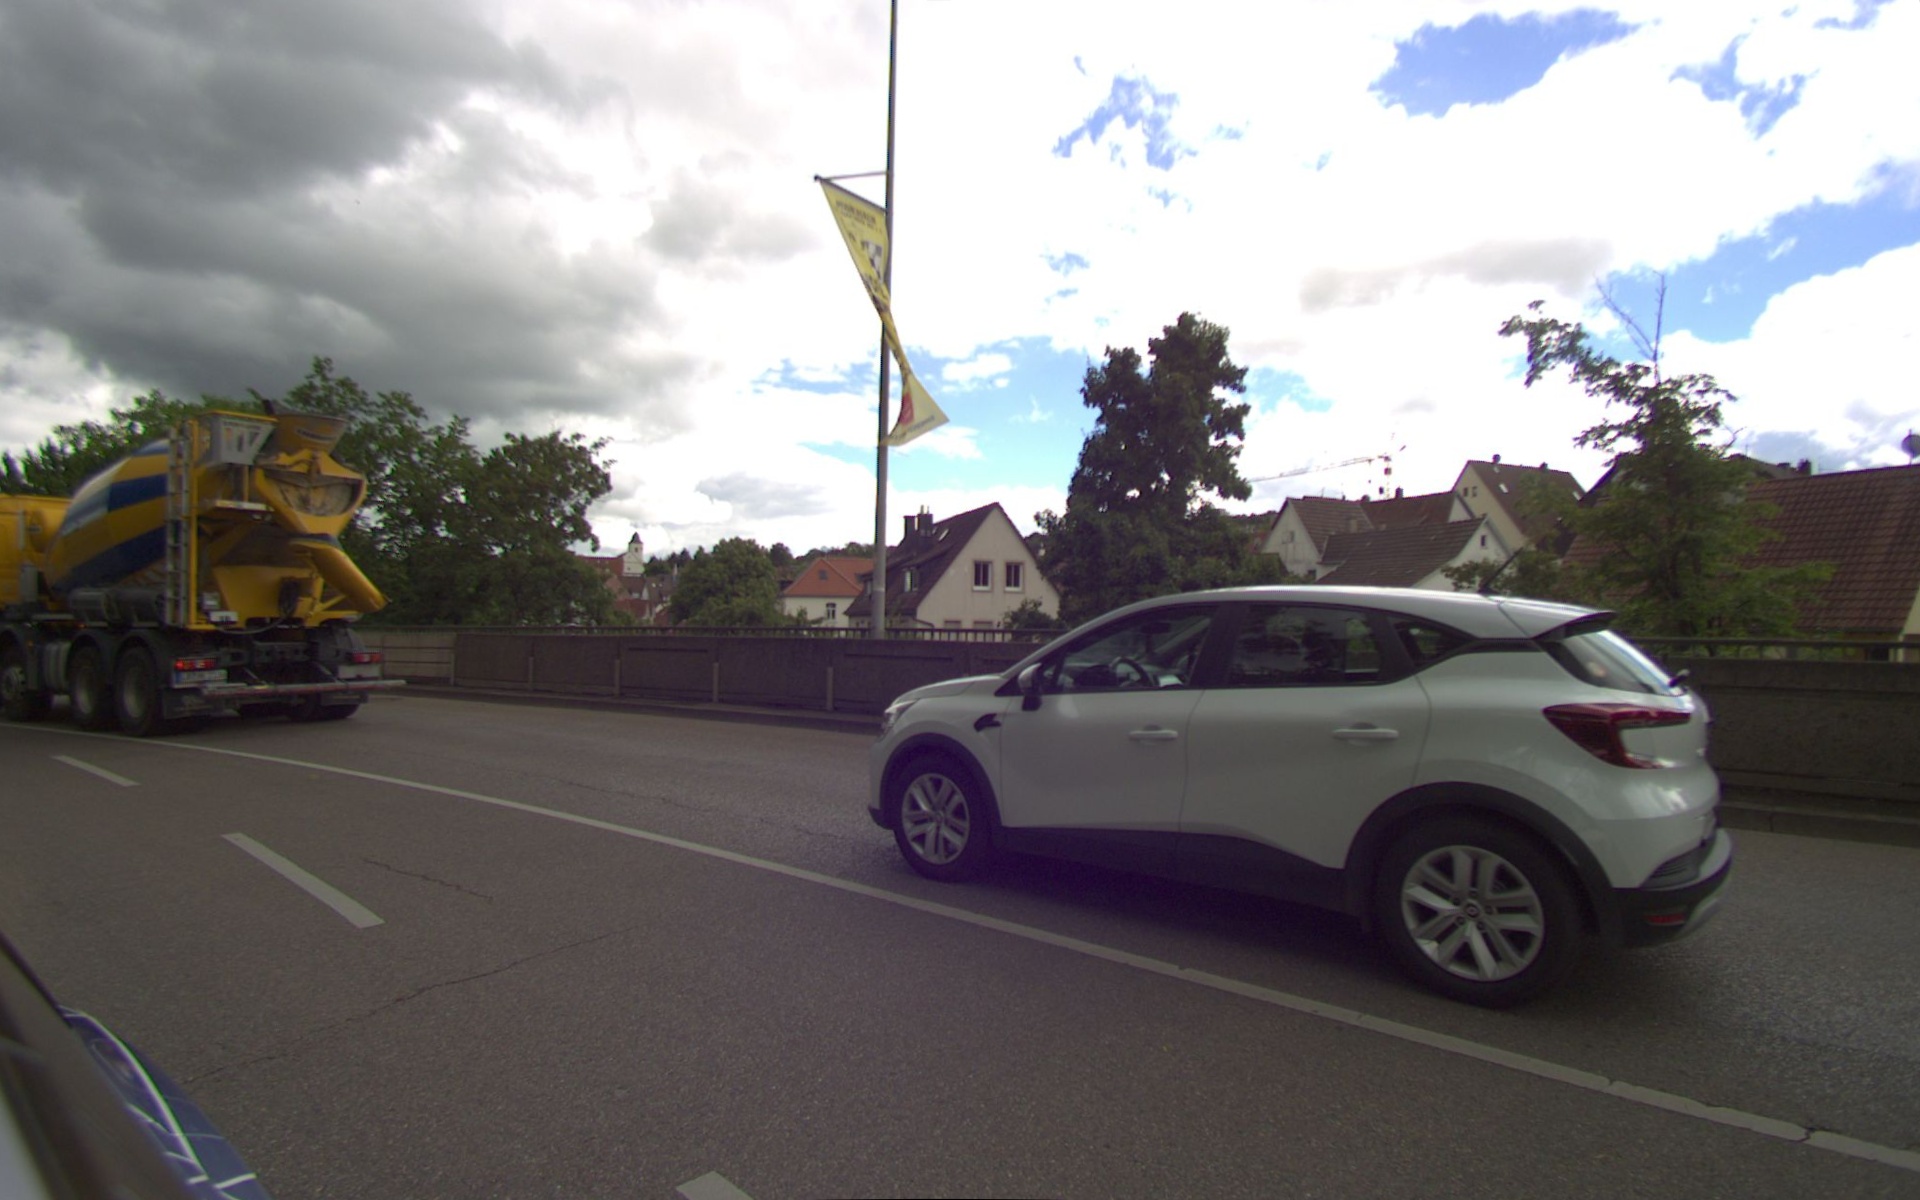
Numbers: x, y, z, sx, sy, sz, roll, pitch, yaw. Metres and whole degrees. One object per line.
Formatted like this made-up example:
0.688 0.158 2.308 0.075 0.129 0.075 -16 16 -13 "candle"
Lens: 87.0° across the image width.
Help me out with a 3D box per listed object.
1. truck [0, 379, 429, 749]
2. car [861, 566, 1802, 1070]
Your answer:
-11.872 -0.303 14.591 10.073 3.968 2.635 -1 -1 31 "truck"
1.512 0.689 4.994 3.998 1.490 1.748 -2 -2 42 "car"
